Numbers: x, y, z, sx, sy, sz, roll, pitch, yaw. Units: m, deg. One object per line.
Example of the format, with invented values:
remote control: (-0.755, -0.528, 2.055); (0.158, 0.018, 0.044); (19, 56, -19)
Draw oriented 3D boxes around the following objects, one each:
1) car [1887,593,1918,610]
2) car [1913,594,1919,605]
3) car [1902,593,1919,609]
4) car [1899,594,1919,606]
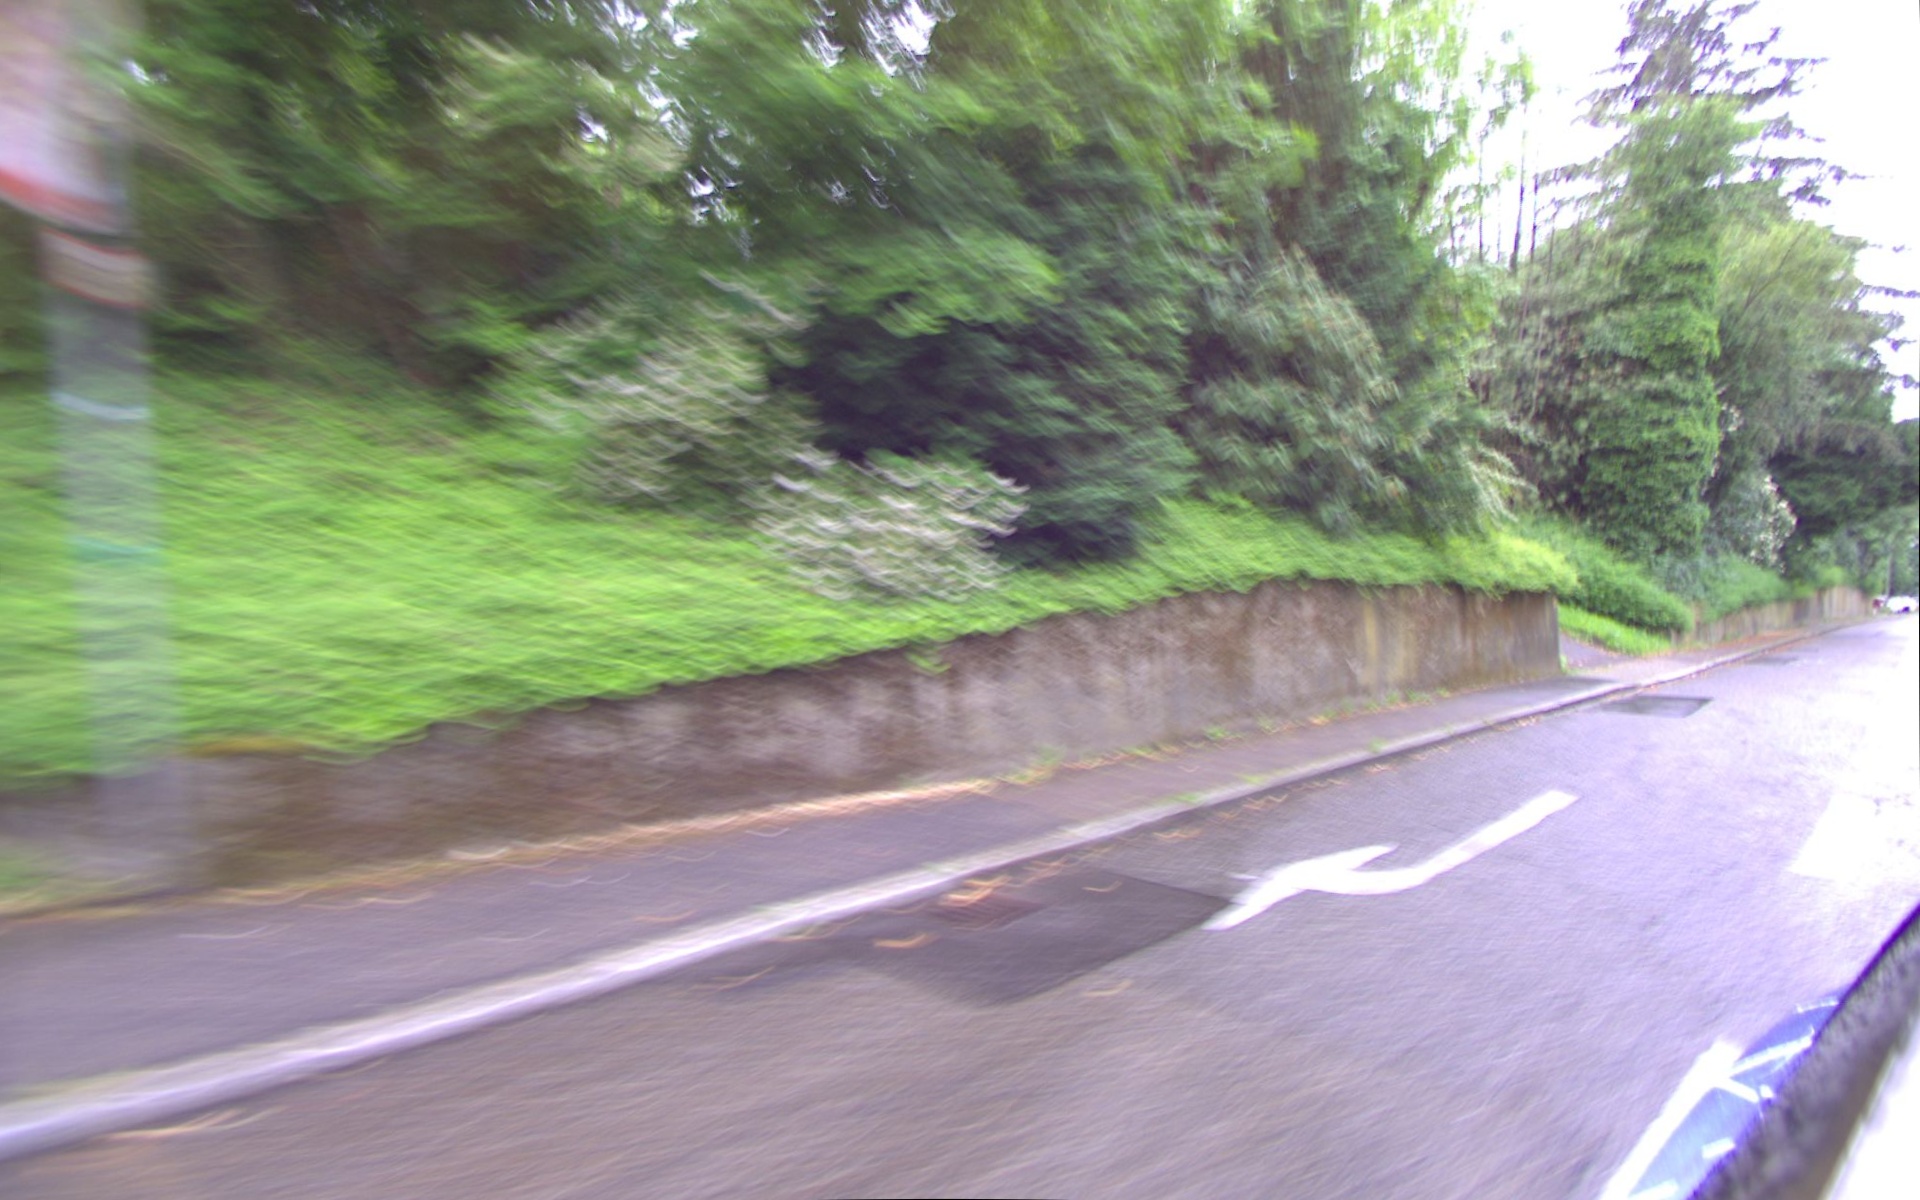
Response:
car: (94.464, 0.123, 101.398); (4.658, 1.495, 1.742); (0, 5, -42)
car: (137.414, 0.097, 142.693); (1.773, 1.592, 4.193); (0, 6, -42)
car: (102.258, 0.083, 108.342); (4.602, 1.643, 1.767); (-1, 4, -44)
car: (123.490, 0.118, 129.847); (1.773, 1.433, 4.191); (0, 4, -42)
